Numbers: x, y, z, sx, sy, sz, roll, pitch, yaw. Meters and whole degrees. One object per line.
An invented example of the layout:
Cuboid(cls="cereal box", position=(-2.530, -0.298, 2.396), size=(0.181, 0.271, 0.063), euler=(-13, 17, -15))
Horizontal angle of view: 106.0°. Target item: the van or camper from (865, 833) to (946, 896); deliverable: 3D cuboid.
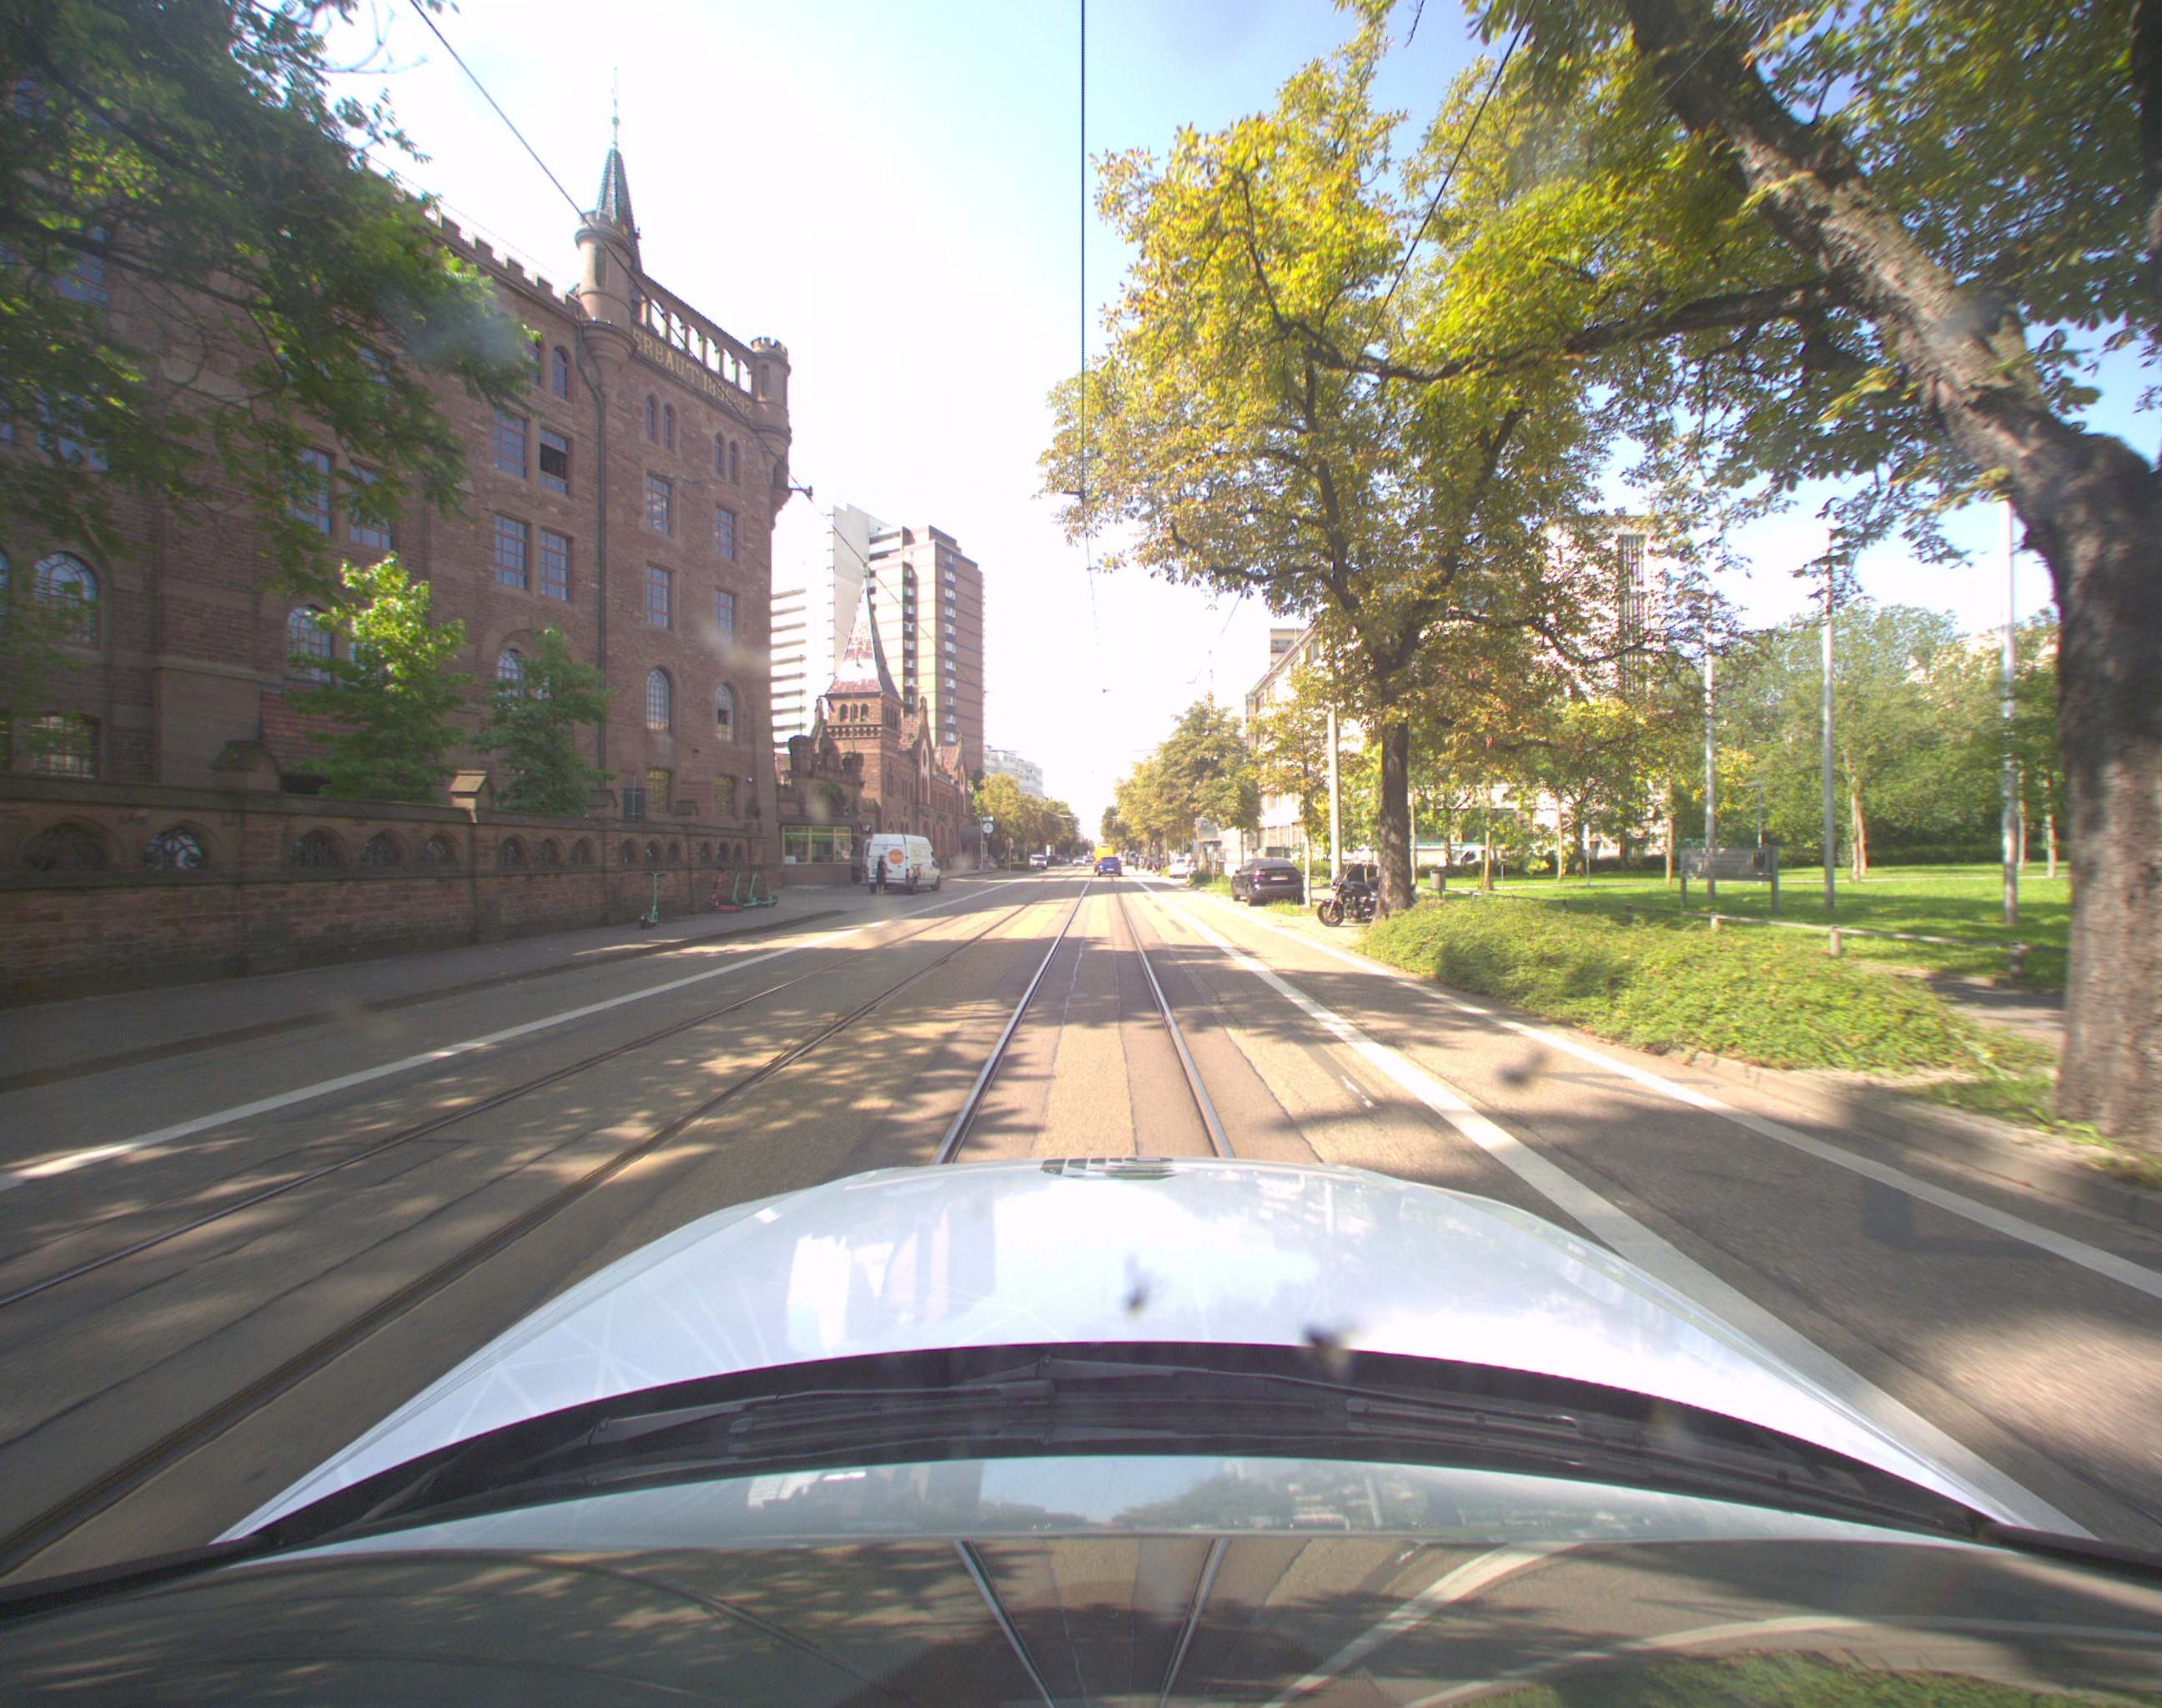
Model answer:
Cuboid(cls="van or camper", position=(-7.903, 0.460, 37.313), size=(2.104, 2.675, 5.959), euler=(0, 0, 3))

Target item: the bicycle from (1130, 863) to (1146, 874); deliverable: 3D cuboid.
Cuboid(cls="bicycle", position=(5.726, 1.462, 82.319), size=(1.396, 1.134, 4.001), euler=(0, 0, 2))

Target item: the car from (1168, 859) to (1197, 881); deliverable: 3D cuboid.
Cuboid(cls="car", position=(7.283, 1.130, 58.644), size=(1.653, 1.481, 4.219), euler=(-1, -1, 2))

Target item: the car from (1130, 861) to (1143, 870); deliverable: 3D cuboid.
Cuboid(cls="car", position=(9.019, 1.806, 132.287), size=(1.901, 1.431, 4.292), euler=(0, 0, 1))

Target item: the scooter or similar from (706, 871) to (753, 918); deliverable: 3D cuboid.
Cuboid(cls="scooter or similar", position=(-9.246, 1.058, 21.457), size=(0.336, 1.178, 1.185), euler=(0, -1, 27))

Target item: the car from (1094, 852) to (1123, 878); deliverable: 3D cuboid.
Cuboid(cls="car", position=(2.092, 0.833, 61.917), size=(2.127, 1.858, 5.570), euler=(-1, 0, 2))

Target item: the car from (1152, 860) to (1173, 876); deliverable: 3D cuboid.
Cuboid(cls="car", position=(7.666, 1.281, 77.026), size=(1.653, 1.408, 4.219), euler=(-1, -1, 2))

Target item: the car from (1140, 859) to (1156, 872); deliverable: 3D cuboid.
Cuboid(cls="car", position=(8.333, 1.478, 101.673), size=(1.628, 1.585, 4.188), euler=(0, 0, 1))

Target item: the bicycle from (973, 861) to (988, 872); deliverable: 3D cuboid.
Cuboid(cls="bicycle", position=(-10.515, 1.301, 85.178), size=(1.447, 1.093, 0.399), euler=(3, -1, -3))

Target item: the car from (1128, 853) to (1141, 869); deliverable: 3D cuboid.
Cuboid(cls="car", position=(9.321, 1.275, 142.886), size=(1.987, 2.756, 5.761), euler=(0, 0, 1))

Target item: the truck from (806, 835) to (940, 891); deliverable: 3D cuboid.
Cuboid(cls="truck", position=(-10.731, 0.405, 42.213), size=(6.288, 2.538, 2.135), euler=(3, 1, 6))

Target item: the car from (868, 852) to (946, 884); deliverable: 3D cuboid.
Cuboid(cls="car", position=(-10.451, 0.830, 49.184), size=(4.119, 1.743, 2.001), euler=(3, 0, 2))

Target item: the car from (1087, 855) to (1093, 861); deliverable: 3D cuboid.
Cuboid(cls="car", position=(2.680, 1.172, 236.584), size=(1.774, 1.684, 4.347), euler=(0, -1, 1))

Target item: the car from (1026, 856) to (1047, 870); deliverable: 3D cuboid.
Cuboid(cls="car", position=(-5.756, 1.216, 105.733), size=(1.752, 1.796, 3.975), euler=(0, -1, -18))

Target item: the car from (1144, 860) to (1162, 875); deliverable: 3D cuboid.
Cuboid(cls="car", position=(7.823, 1.474, 88.577), size=(1.736, 1.556, 4.219), euler=(-1, -1, 2))

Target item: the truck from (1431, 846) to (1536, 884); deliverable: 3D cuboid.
Cuboid(cls="truck", position=(25.133, 0.668, 51.028), size=(5.484, 2.326, 2.300), euler=(0, -1, 2))

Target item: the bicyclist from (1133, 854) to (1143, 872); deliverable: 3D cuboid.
Cuboid(cls="bicyclist", position=(5.759, 0.906, 82.319), size=(1.028, 1.812, 1.016), euler=(0, -1, 1))

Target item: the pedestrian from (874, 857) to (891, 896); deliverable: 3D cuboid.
Cuboid(cls="pedestrian", position=(-8.269, 0.929, 33.970), size=(0.493, 1.599, 0.554), euler=(0, -1, 16))

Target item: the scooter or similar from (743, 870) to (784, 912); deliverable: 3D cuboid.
Cuboid(cls="scooter or similar", position=(-9.252, 1.073, 23.764), size=(0.336, 1.178, 1.185), euler=(0, -1, 27))

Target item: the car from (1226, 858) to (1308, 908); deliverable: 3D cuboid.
Cuboid(cls="car", position=(6.214, 0.922, 27.769), size=(1.750, 1.515, 4.609), euler=(-2, -1, 0))

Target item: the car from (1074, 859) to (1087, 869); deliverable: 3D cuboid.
Cuboid(cls="car", position=(-0.092, 1.522, 128.015), size=(1.839, 1.492, 4.870), euler=(0, 0, 2))

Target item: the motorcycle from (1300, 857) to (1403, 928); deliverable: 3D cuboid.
Cuboid(cls="motorcycle", position=(6.189, 0.831, 18.800), size=(0.854, 1.516, 2.436), euler=(0, -1, -23))

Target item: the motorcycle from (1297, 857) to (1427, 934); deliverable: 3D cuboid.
Cuboid(cls="motorcycle", position=(5.874, 0.821, 17.105), size=(2.423, 1.516, 0.858), euler=(-1, -1, 40))

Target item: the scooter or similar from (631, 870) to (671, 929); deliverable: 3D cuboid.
Cuboid(cls="scooter or similar", position=(-9.042, 0.941, 17.151), size=(0.421, 1.178, 1.310), euler=(0, -1, -14))

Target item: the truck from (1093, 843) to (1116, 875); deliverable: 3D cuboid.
Cuboid(cls="truck", position=(2.364, 0.499, 81.398), size=(2.127, 3.124, 6.087), euler=(-1, -1, 2))

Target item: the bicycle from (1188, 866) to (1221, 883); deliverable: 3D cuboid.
Cuboid(cls="bicycle", position=(6.952, 1.165, 45.884), size=(1.805, 0.958, 0.558), euler=(0, -1, 1))

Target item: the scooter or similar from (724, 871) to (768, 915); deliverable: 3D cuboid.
Cuboid(cls="scooter or similar", position=(-9.301, 1.066, 22.630), size=(0.336, 1.178, 1.185), euler=(0, -1, 27))
